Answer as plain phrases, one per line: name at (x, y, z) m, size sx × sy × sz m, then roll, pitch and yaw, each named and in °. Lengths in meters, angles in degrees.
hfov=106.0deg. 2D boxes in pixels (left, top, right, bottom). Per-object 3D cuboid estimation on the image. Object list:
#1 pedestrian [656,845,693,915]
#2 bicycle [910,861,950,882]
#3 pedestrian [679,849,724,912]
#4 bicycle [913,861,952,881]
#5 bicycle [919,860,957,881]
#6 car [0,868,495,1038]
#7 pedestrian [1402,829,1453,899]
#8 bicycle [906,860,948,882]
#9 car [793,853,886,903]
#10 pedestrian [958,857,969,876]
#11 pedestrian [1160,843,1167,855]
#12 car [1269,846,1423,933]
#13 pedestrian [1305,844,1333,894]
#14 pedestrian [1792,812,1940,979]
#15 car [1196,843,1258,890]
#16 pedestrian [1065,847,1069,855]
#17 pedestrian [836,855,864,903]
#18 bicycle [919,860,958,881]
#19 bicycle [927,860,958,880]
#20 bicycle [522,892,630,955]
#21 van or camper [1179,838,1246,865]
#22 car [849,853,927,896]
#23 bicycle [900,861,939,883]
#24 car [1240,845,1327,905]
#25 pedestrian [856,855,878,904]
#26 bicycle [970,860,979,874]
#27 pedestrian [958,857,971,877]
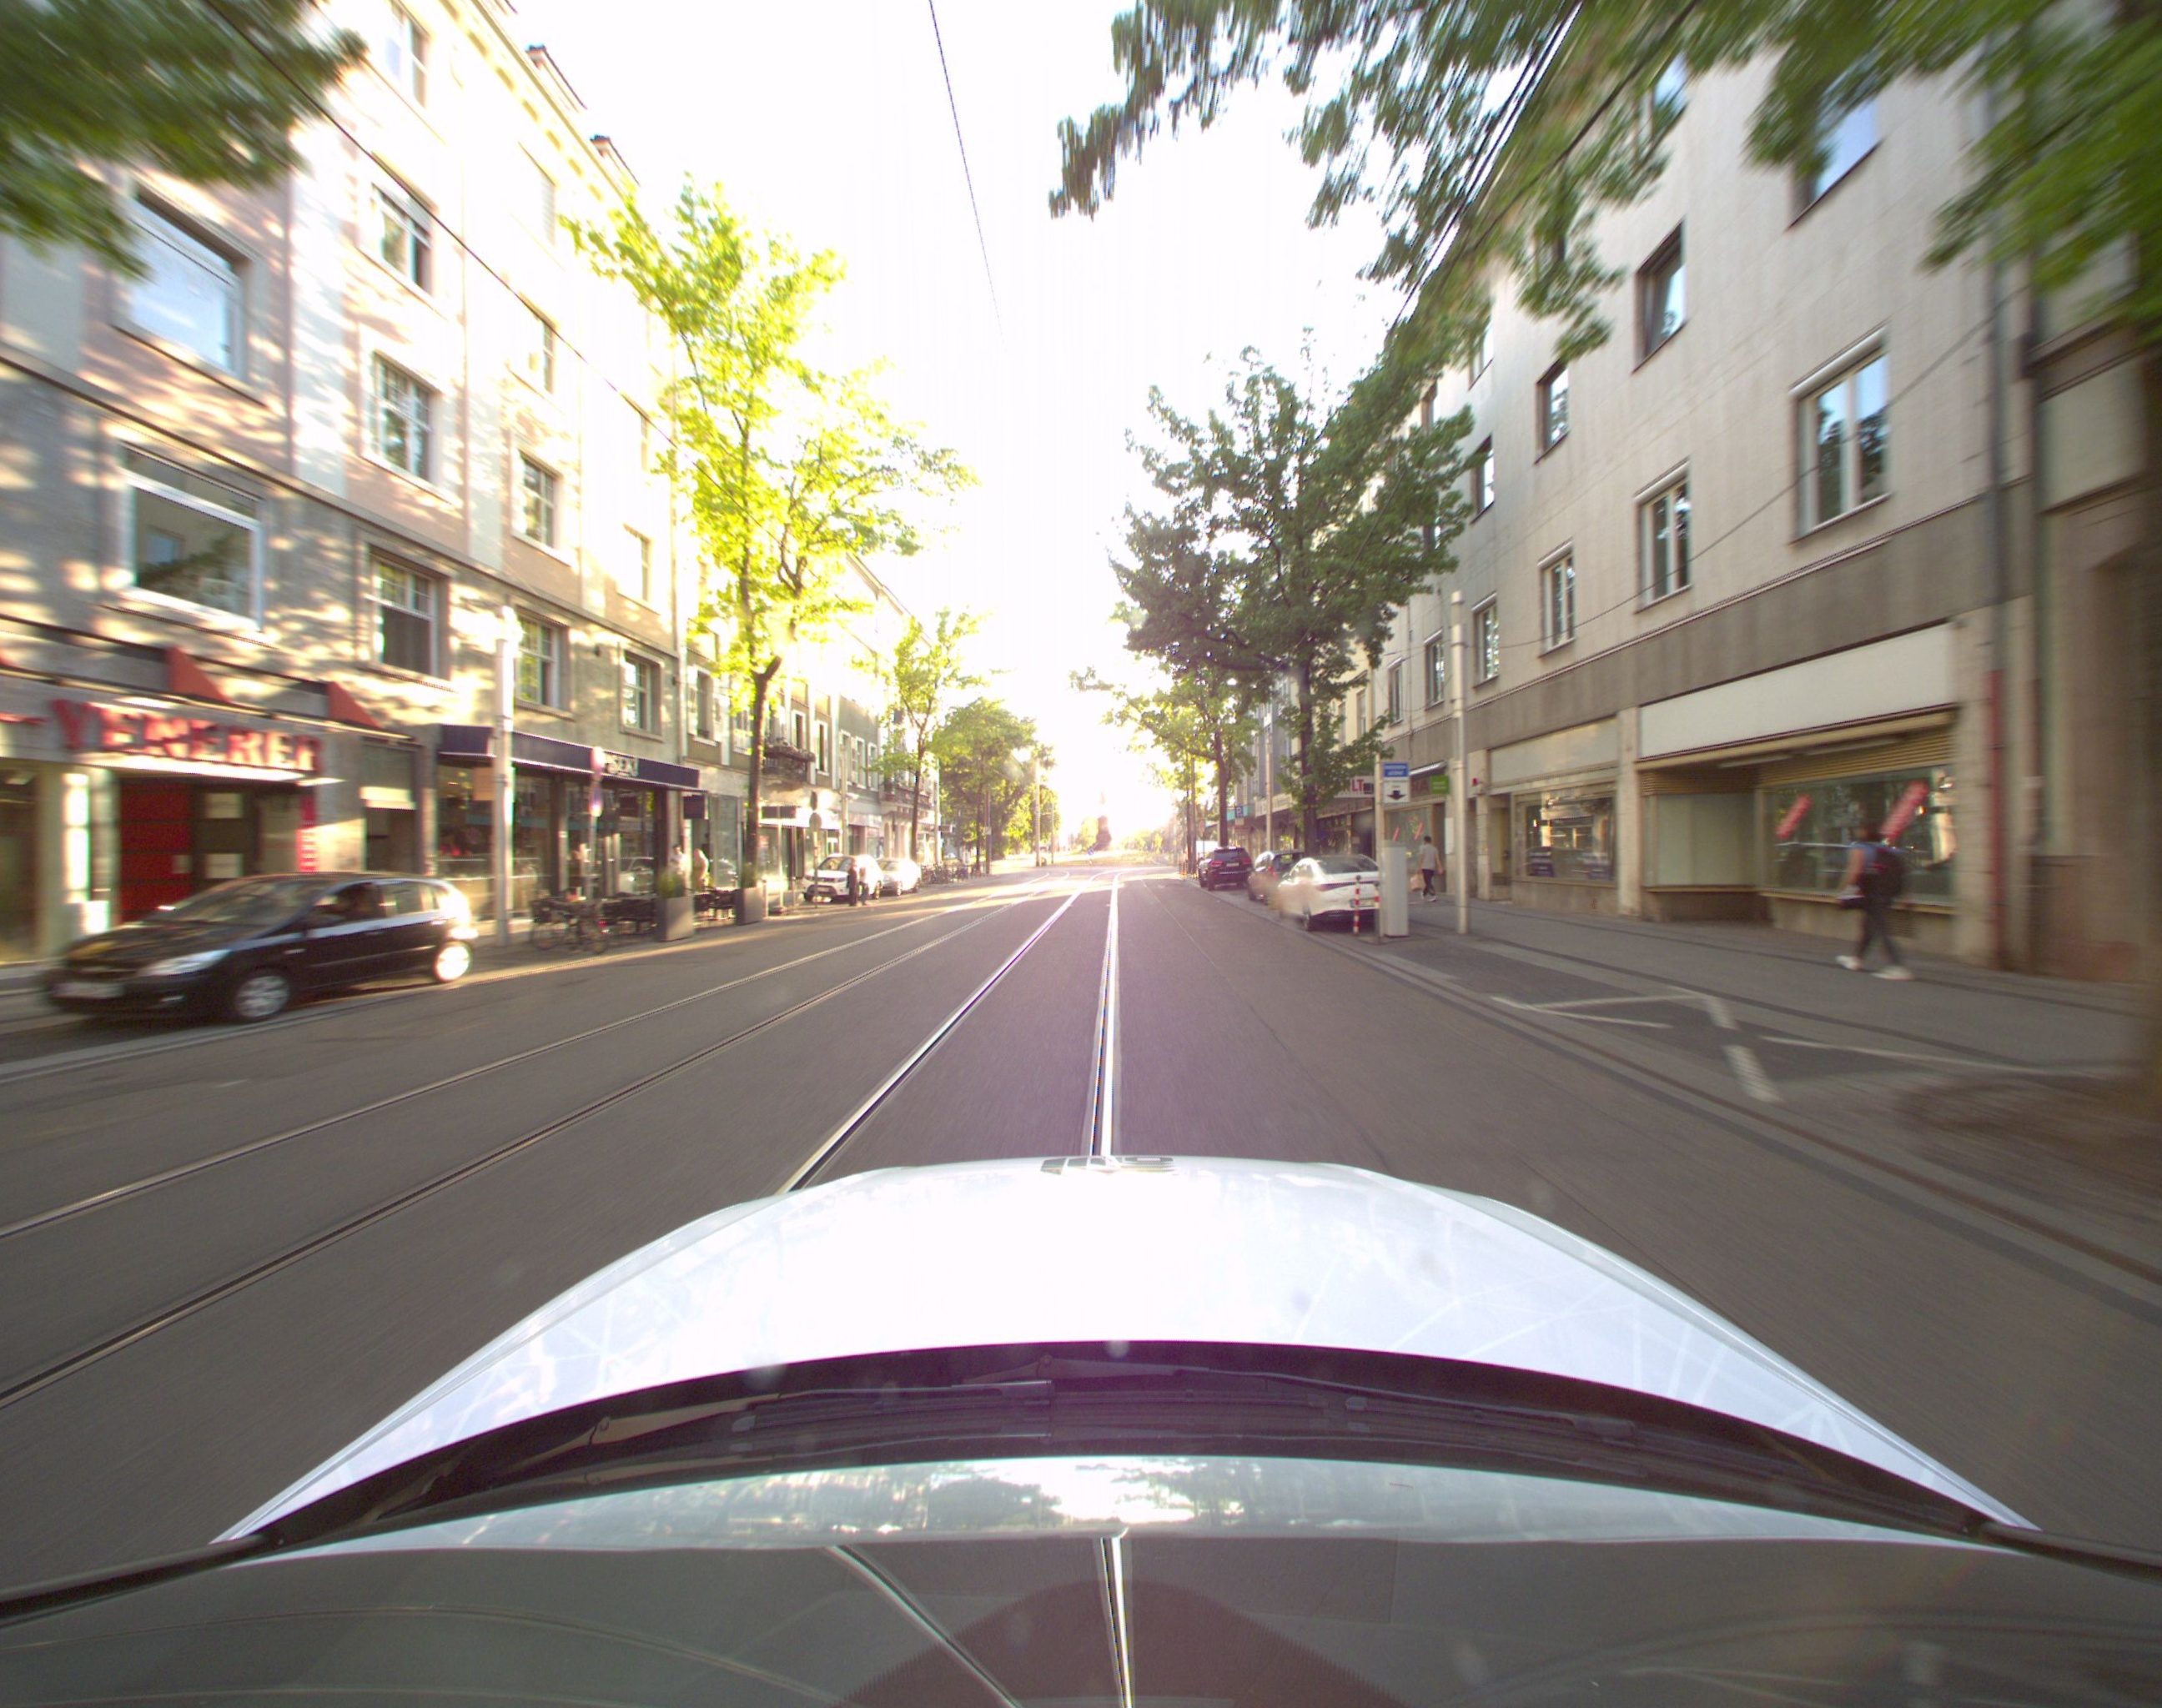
pedestrian at (-11.876, 0.748, 23.791) m, size 0.719 × 2.013 × 0.643 m, roll -1°, pitch 0°, yaw 2°
bicycle at (-8.154, 0.935, 43.995) m, size 2.032 × 1.105 × 0.497 m, roll 1°, pitch -1°, yaw -23°
pedestrian at (-10.915, 0.734, 23.474) m, size 0.719 × 1.760 × 1.091 m, roll -1°, pitch 0°, yaw 2°
bicycle at (-8.123, 0.938, 44.575) m, size 2.032 × 1.105 × 0.497 m, roll 1°, pitch -1°, yaw -23°
bicycle at (-8.079, 0.927, 46.041) m, size 2.014 × 1.105 × 0.502 m, roll 1°, pitch -1°, yaw 4°
car at (-9.060, 0.942, 9.410) m, size 1.659 × 1.428 × 3.829 m, roll 2°, pitch 0°, yaw 2°
pedestrian at (9.042, 0.251, 21.309) m, size 0.855 × 1.753 × 0.933 m, roll -4°, pitch 0°, yaw 2°
bicycle at (-8.188, 0.907, 43.350) m, size 2.117 × 1.105 × 0.497 m, roll 1°, pitch -1°, yaw -23°
car at (-8.505, 0.798, 29.093) m, size 1.828 × 1.580 × 4.119 m, roll 3°, pitch 0°, yaw 3°
pedestrian at (-7.788, 0.826, 53.977) m, size 0.589 × 1.194 × 0.642 m, roll 0°, pitch 0°, yaw 0°
pedestrian at (10.953, -0.681, 108.676) m, size 0.630 × 1.606 × 0.776 m, roll -1°, pitch 0°, yaw 34°
car at (5.519, 0.648, 17.659) m, size 1.985 × 1.498 × 4.684 m, roll -4°, pitch 0°, yaw 3°
pedestrian at (8.166, 0.509, 27.949) m, size 0.641 × 1.670 × 0.787 m, roll -4°, pitch 0°, yaw 2°
pedestrian at (8.404, 0.421, 8.762) m, size 0.655 × 1.665 × 0.888 m, roll -3°, pitch 0°, yaw 2°
car at (6.211, 0.493, 35.114) m, size 1.930 × 1.759 × 4.682 m, roll -4°, pitch 0°, yaw 2°
pedestrian at (-2.893, -0.652, 163.255) m, size 0.768 × 1.606 × 0.637 m, roll -1°, pitch 0°, yaw -4°
pedestrian at (-7.412, 0.784, 26.126) m, size 0.617 × 1.509 × 0.730 m, roll -1°, pitch -1°, yaw 3°
bicycle at (-7.945, 0.930, 45.449) m, size 2.014 × 1.105 × 0.502 m, roll 1°, pitch -1°, yaw 4°
bicycle at (-7.992, 0.916, 46.910) m, size 2.004 × 1.105 × 0.504 m, roll 0°, pitch -1°, yaw 37°
bicycle at (-8.464, 1.156, 13.648) m, size 1.607 × 0.965 × 0.433 m, roll 1°, pitch 0°, yaw 7°
van or camper at (12.941, -0.232, 79.817) m, size 6.342 × 2.472 × 2.589 m, roll -1°, pitch 1°, yaw -32°
car at (-7.960, 0.792, 34.012) m, size 1.828 × 1.580 × 4.706 m, roll 3°, pitch 0°, yaw 3°
bicycle at (-8.412, 0.923, 42.445) m, size 1.953 × 1.105 × 0.563 m, roll 1°, pitch -1°, yaw -23°
car at (6.178, 0.594, 25.279) m, size 1.769 × 1.591 × 3.893 m, roll -4°, pitch 0°, yaw 2°
pedestrian at (-7.051, 0.832, 26.852) m, size 0.519 × 1.569 × 0.634 m, roll -1°, pitch -1°, yaw 3°
bicycle at (-7.510, 0.927, 57.636) m, size 0.335 × 0.946 × 1.511 m, roll -1°, pitch 0°, yaw 3°
pedestrian at (-7.474, 0.839, 52.324) m, size 0.725 × 1.290 × 0.856 m, roll 0°, pitch 0°, yaw 0°
